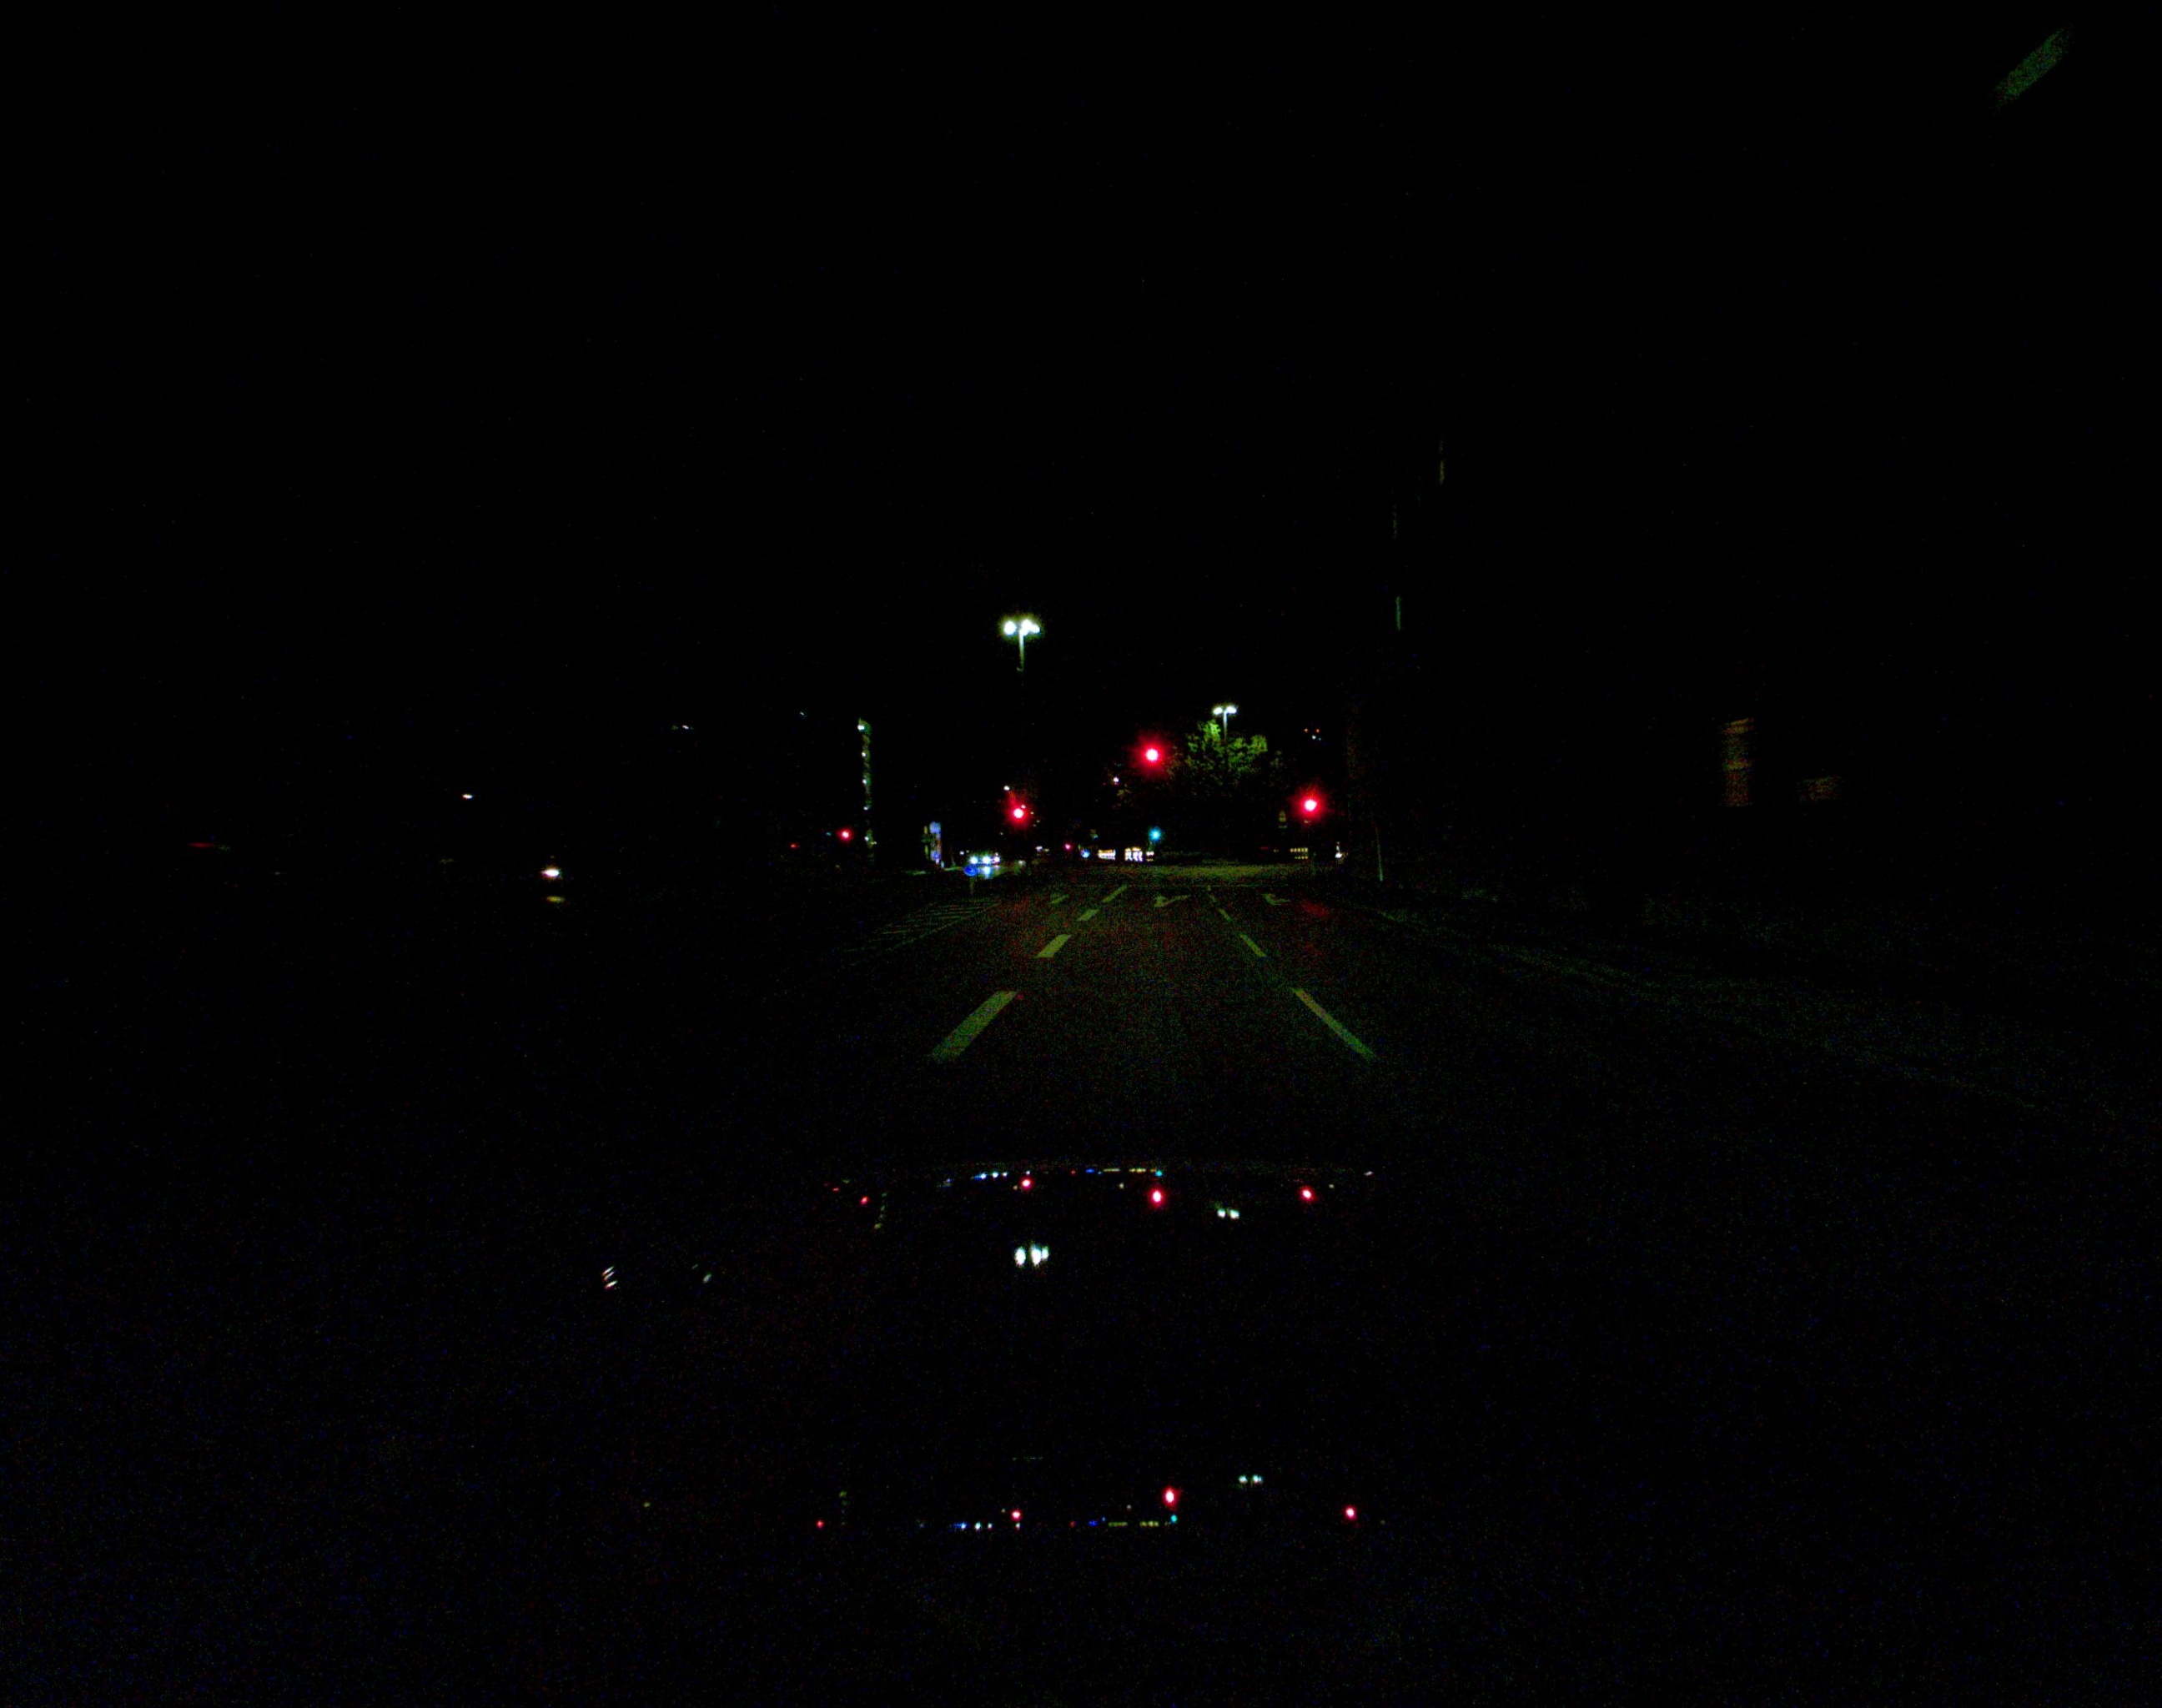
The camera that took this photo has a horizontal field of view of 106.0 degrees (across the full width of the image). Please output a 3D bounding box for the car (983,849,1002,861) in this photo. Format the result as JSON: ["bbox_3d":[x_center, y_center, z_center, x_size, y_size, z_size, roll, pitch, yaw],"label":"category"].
[{"bbox_3d":[-10.164,0.141,93.816,1.752,1.322,3.546,-1,0,-1],"label":"car"}]

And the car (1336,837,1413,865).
[{"bbox_3d":[16.954,-0.179,47.077,3.949,1.491,1.719,-1,0,28],"label":"car"}]

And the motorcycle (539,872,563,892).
[{"bbox_3d":[-26.128,1.385,40.115,0.583,0.896,2.129,-4,2,-43],"label":"motorcycle"}]

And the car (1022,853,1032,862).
[{"bbox_3d":[-10.559,0.731,160.262,1.752,1.728,3.546,-1,0,-1],"label":"car"}]

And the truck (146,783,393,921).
[{"bbox_3d":[-26.351,-0.014,27.183,2.954,3.796,9.474,-1,0,-27],"label":"truck"}]

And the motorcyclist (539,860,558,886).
[{"bbox_3d":[-26.120,0.941,39.935,0.652,1.261,0.572,-1,-1,-43],"label":"motorcyclist"}]

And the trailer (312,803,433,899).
[{"bbox_3d":[-30.957,-0.098,35.854,2.629,3.791,6.453,-1,0,-29],"label":"trailer"}]

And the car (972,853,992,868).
[{"bbox_3d":[-10.424,0.717,85.818,1.610,1.515,3.999,-1,0,0],"label":"car"}]
